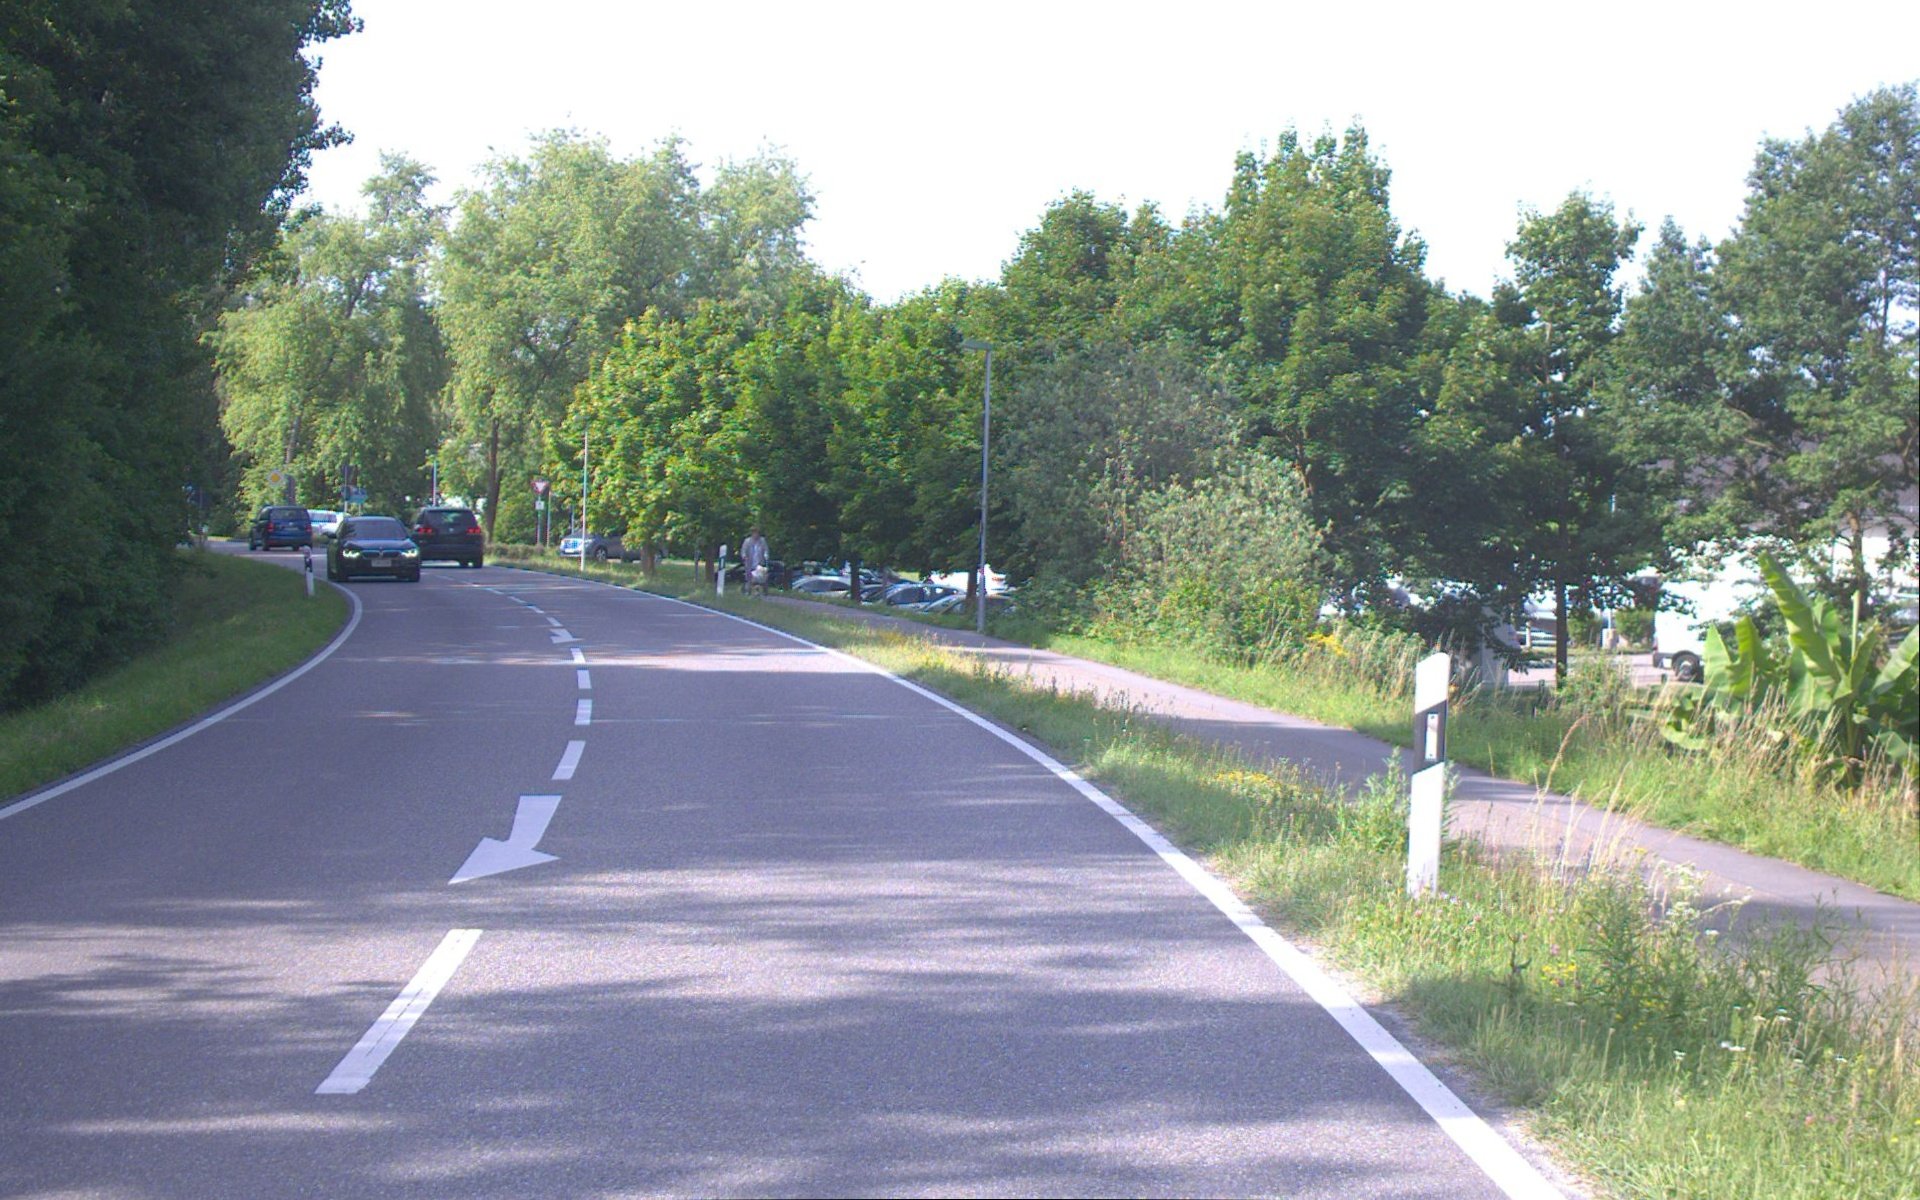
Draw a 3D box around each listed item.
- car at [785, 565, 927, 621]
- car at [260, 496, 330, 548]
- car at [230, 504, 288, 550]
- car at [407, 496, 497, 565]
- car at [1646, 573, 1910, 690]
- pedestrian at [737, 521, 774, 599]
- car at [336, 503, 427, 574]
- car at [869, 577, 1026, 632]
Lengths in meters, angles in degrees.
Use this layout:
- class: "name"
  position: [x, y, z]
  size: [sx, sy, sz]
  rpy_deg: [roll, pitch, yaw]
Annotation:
- class: "car"
  position: [-3.306, -0.224, 108.992]
  size: [4.233, 1.674, 1.891]
  rpy_deg: [1, 1, -11]
- class: "car"
  position: [-24.044, -2.828, 124.137]
  size: [2.003, 1.765, 4.002]
  rpy_deg: [1, 2, -17]
- class: "car"
  position: [-28.861, -3.018, 141.597]
  size: [2.003, 1.765, 4.001]
  rpy_deg: [2, 2, -7]
- class: "car"
  position: [-14.003, -1.932, 94.538]
  size: [1.924, 1.765, 4.002]
  rpy_deg: [1, 2, -16]
- class: "car"
  position: [20.110, 0.736, 84.644]
  size: [5.778, 2.658, 2.402]
  rpy_deg: [2, 1, 36]
- class: "pedestrian"
  position: [-4.674, -0.918, 78.584]
  size: [0.754, 1.769, 0.973]
  rpy_deg: [1, 1, -1]
- class: "car"
  position: [-13.263, -1.419, 78.663]
  size: [1.750, 1.469, 4.002]
  rpy_deg: [2, 2, -14]
- class: "car"
  position: [-0.370, 0.118, 98.062]
  size: [4.261, 1.466, 1.844]
  rpy_deg: [1, 1, -7]
